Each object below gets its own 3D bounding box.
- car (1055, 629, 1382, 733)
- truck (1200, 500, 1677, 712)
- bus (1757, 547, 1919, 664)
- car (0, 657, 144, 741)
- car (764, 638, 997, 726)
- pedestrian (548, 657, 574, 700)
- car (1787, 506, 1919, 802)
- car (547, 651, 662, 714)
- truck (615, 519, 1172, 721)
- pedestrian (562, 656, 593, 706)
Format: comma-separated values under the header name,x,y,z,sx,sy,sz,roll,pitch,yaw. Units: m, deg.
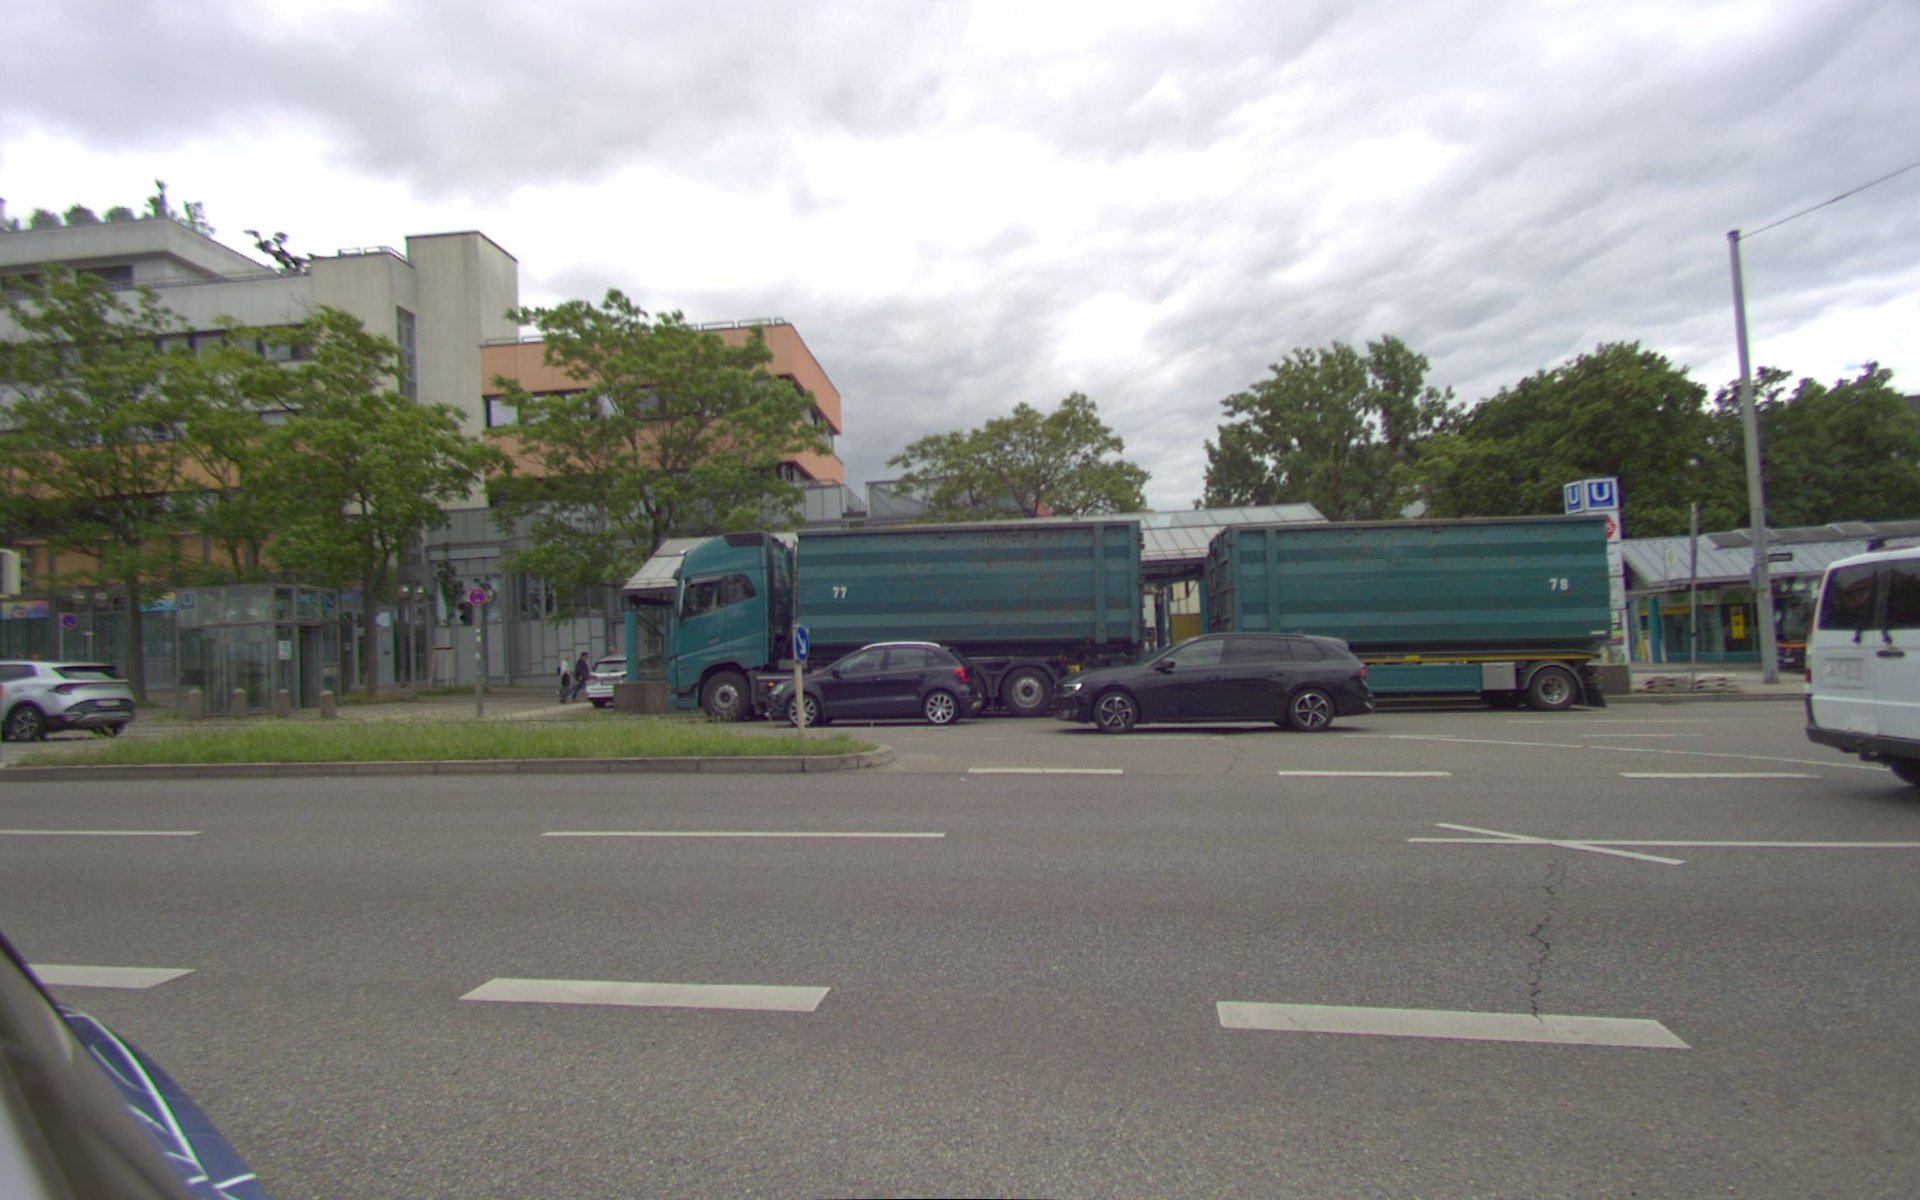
name,x,y,z,sx,sy,sz,roll,pitch,yaw
car,3.641,1.179,15.035,4.390,1.342,1.996,-2,-3,6
truck,9.184,0.241,20.588,7.932,3.756,3.371,-2,-3,8
bus,30.078,0.067,28.178,12.042,3.157,2.953,-2,-2,14
car,-19.847,2.034,20.638,5.201,1.597,1.769,-2,-4,5
car,-1.363,1.486,18.325,3.950,1.428,1.800,-2,-5,5
pedestrian,-13.405,2.620,33.999,0.536,1.407,0.597,-1,-2,30
car,9.109,0.335,6.874,5.019,2.029,1.874,-1,-3,10
car,-9.965,2.278,28.696,1.971,1.364,4.003,-4,0,-3
truck,-1.351,0.502,21.753,11.144,3.756,3.372,-1,-2,7
pedestrian,-11.749,2.473,31.101,0.855,1.469,0.605,-1,-1,-19
